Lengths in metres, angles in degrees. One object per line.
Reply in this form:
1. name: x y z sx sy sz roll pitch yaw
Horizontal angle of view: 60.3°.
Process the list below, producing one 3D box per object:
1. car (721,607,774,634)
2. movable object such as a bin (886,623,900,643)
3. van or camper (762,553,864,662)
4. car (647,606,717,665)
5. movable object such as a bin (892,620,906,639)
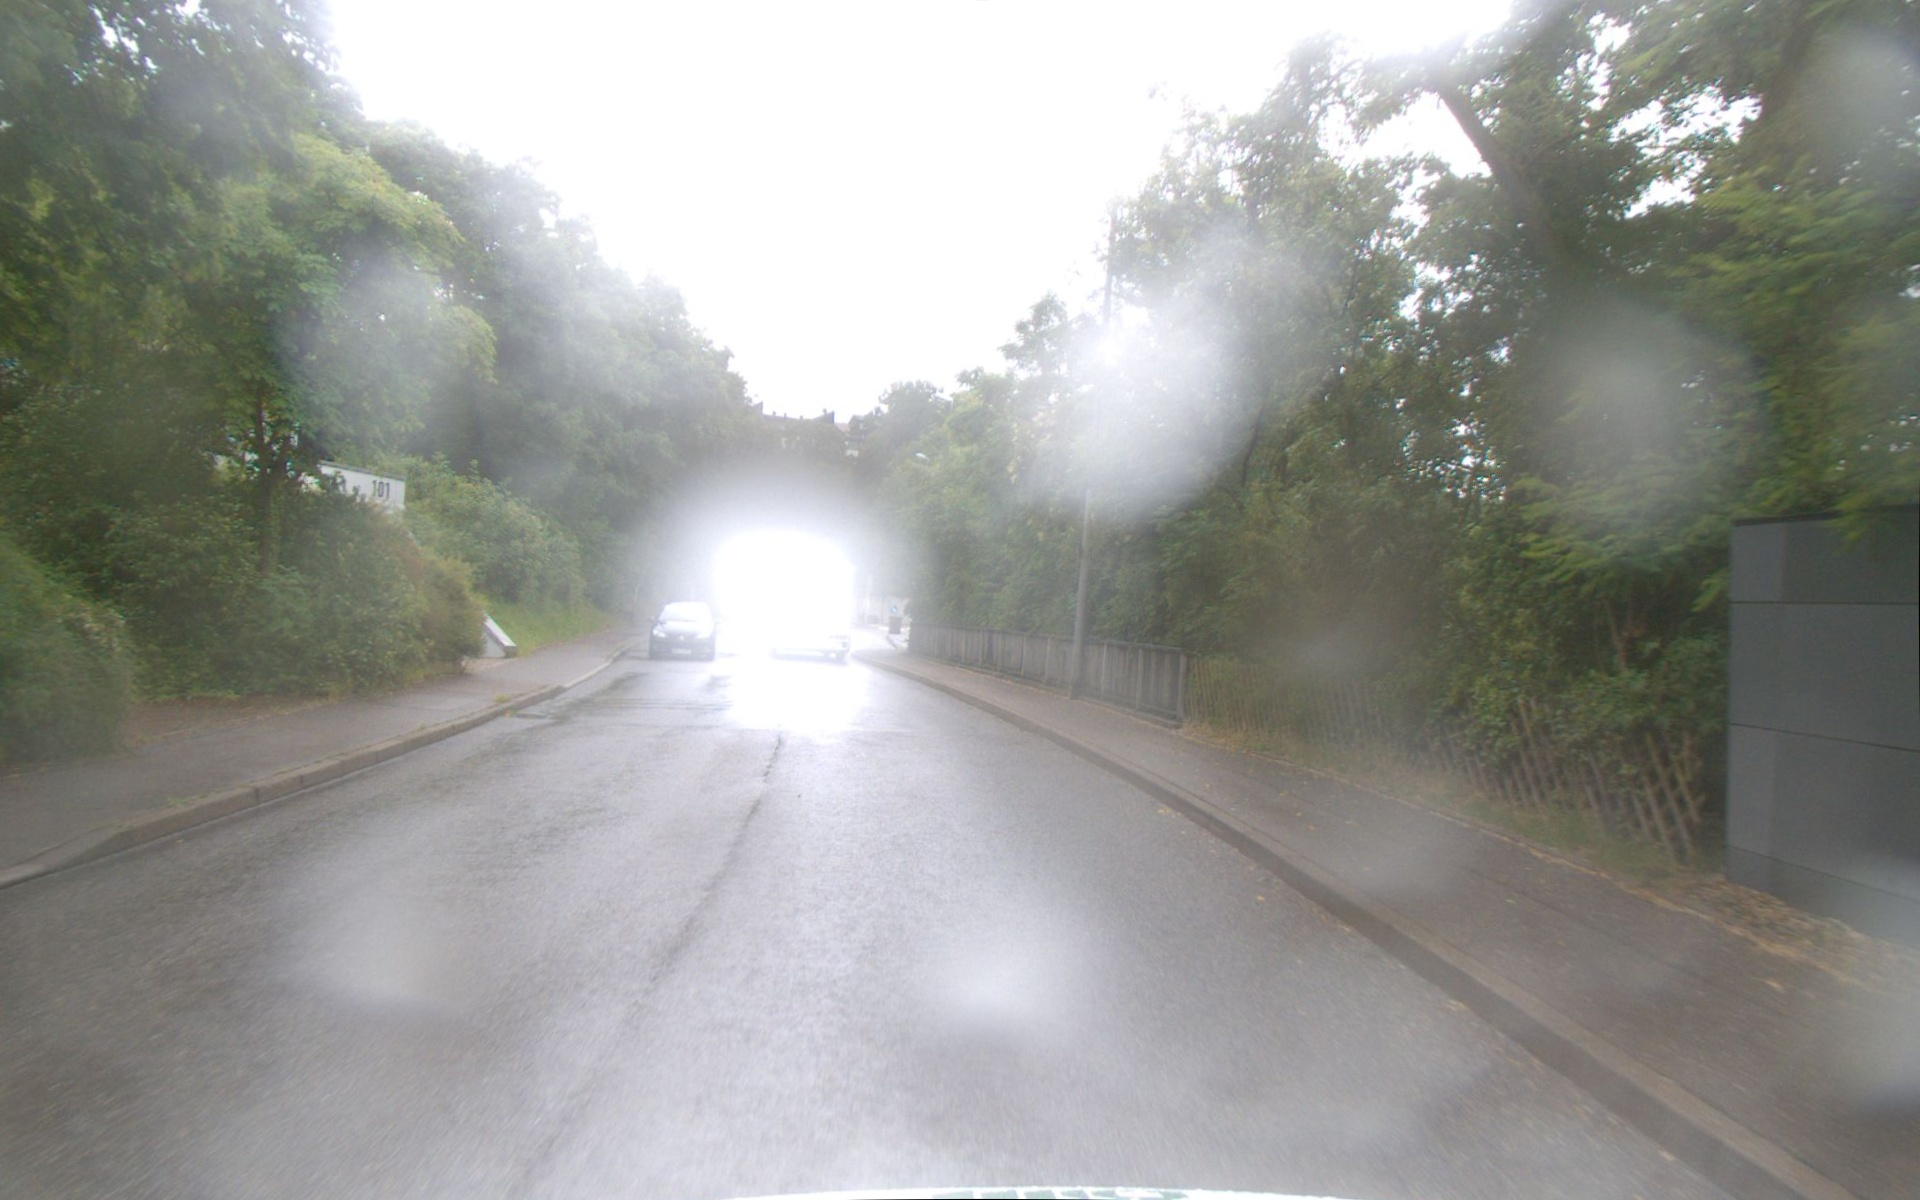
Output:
1. car: -13.776 1.323 107.451 1.951 1.589 4.656 4 0 11
2. movable object such as a bin: -4.039 1.968 99.939 0.761 1.153 0.738 3 -1 2
3. van or camper: -4.370 0.267 48.173 2.494 2.976 5.933 0 -1 -10
4. car: -7.091 0.892 42.462 1.619 1.409 3.523 2 -1 -8
5. movable object such as a bin: -3.737 1.818 101.476 0.761 1.153 0.738 3 -1 2
